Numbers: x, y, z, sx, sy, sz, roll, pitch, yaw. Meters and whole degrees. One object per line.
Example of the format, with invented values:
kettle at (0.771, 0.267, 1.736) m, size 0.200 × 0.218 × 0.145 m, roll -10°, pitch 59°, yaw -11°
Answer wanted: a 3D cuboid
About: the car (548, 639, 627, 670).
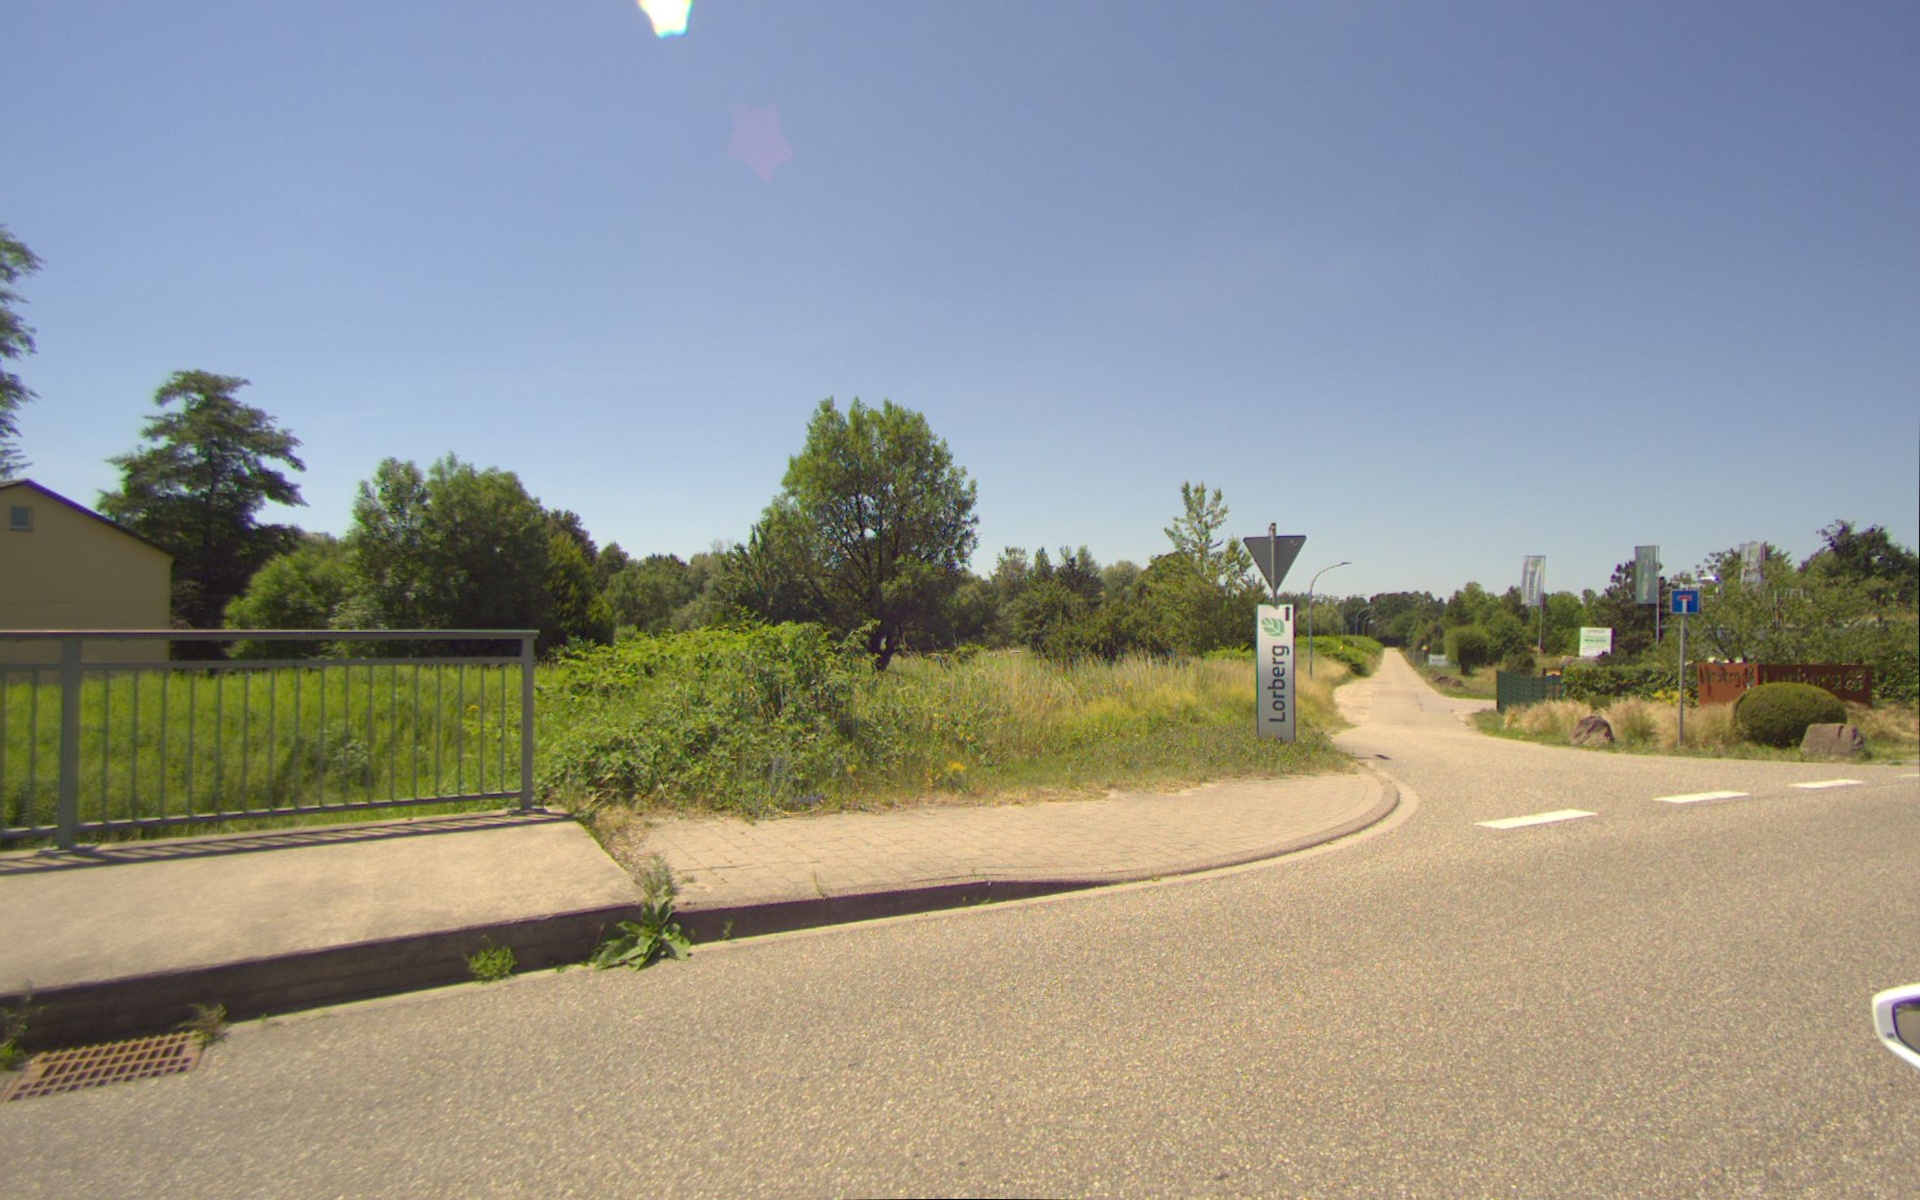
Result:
car at (-19.922, 2.898, 53.939) m, size 1.960 × 1.617 × 4.002 m, roll -1°, pitch -3°, yaw 17°
